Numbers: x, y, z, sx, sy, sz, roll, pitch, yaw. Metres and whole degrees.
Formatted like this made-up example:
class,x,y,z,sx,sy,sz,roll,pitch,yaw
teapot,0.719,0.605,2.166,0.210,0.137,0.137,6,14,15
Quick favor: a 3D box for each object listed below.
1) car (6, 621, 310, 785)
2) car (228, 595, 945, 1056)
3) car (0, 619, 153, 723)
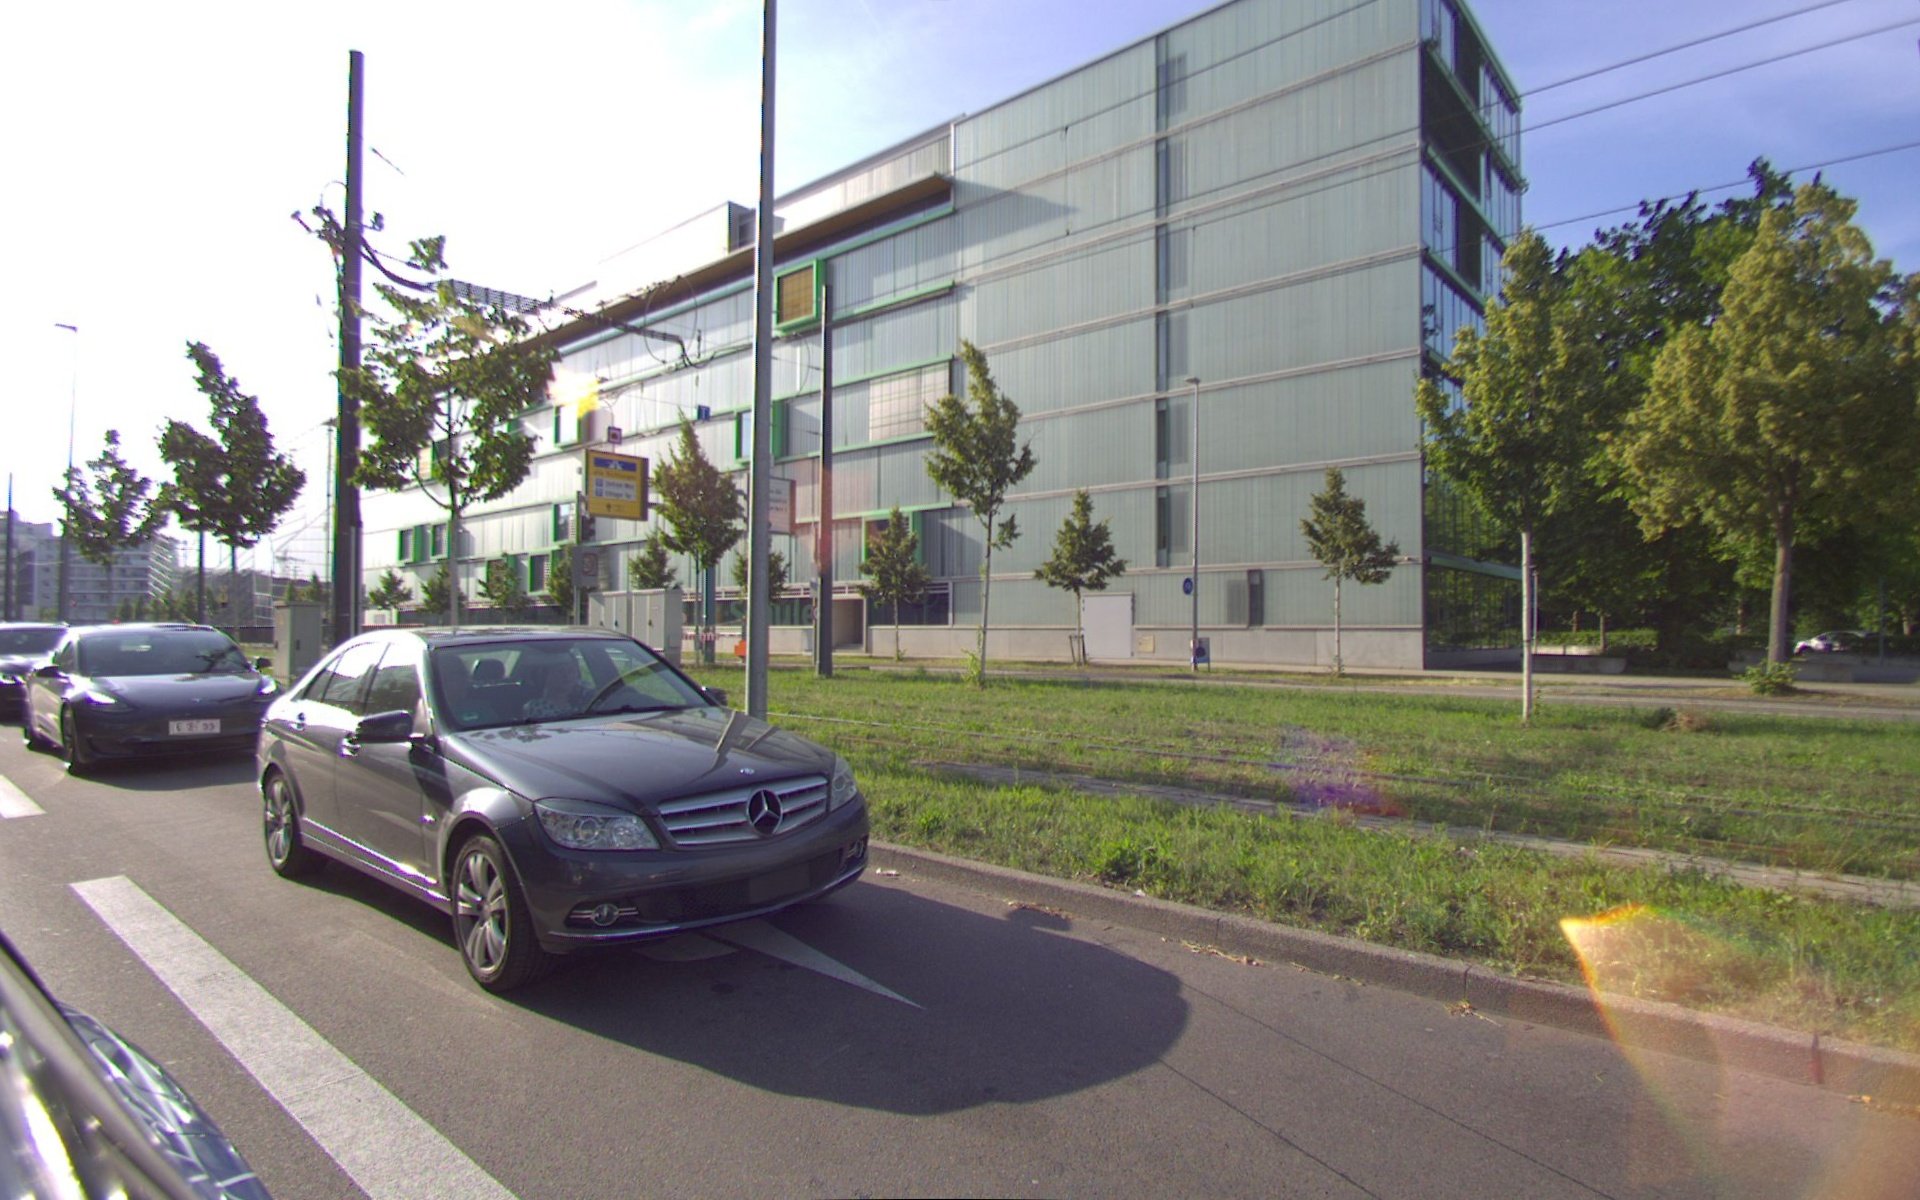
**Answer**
class,x,y,z,sx,sy,sz,roll,pitch,yaw
car,-8.882,0.984,11.073,4.332,1.396,1.870,-2,-1,41
car,-2.286,0.791,5.427,4.352,1.490,1.768,-2,-1,42
car,-15.116,1.094,16.375,4.458,1.437,1.875,-2,-1,32
